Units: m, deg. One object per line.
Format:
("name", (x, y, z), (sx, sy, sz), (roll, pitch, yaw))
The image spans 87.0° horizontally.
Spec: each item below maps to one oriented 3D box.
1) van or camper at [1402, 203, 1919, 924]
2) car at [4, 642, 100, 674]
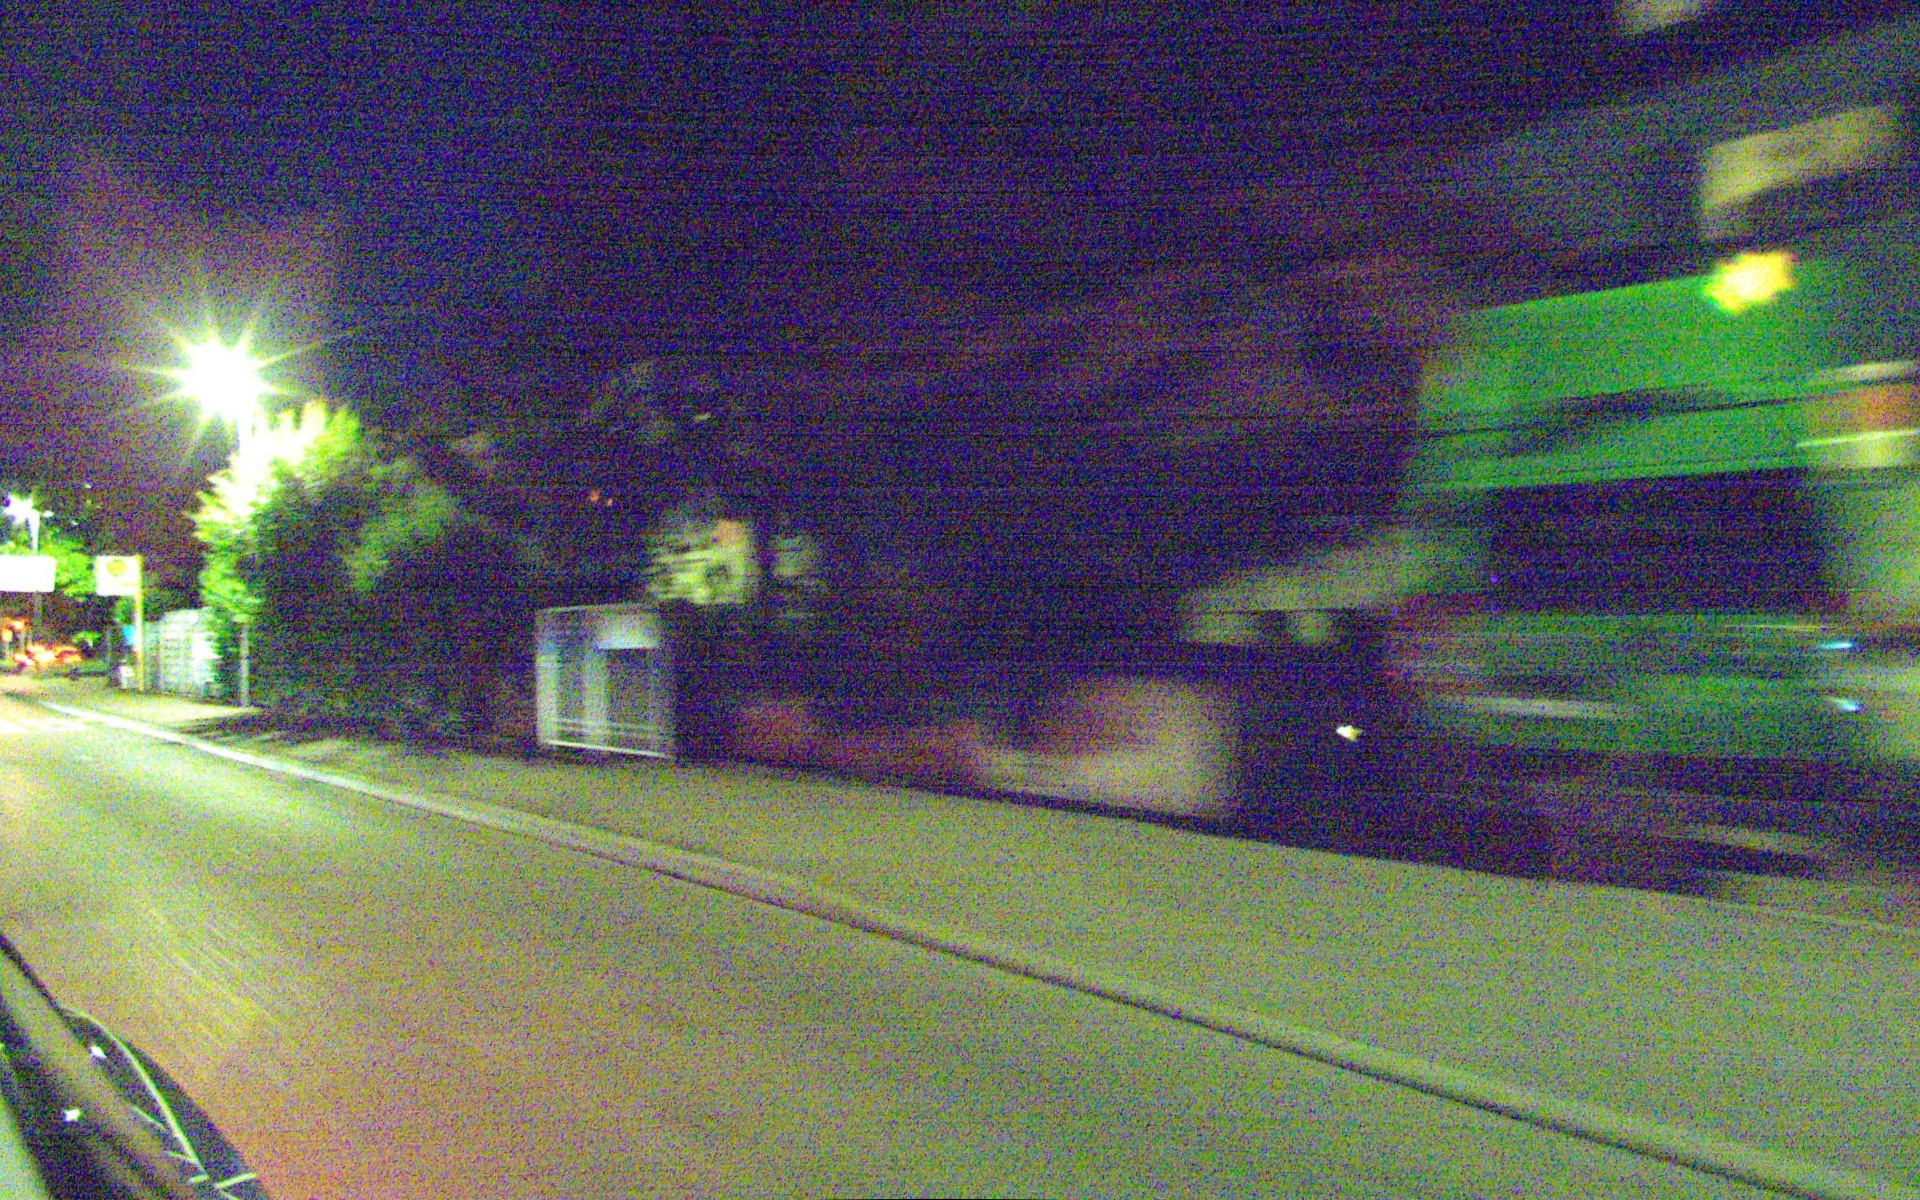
("van or camper", (4.697, -0.118, 7.230), (2.125, 3.134, 5.359), (-1, -1, 31))
("car", (-46.263, 2.941, 51.697), (1.703, 1.440, 4.300), (1, -1, -12))
